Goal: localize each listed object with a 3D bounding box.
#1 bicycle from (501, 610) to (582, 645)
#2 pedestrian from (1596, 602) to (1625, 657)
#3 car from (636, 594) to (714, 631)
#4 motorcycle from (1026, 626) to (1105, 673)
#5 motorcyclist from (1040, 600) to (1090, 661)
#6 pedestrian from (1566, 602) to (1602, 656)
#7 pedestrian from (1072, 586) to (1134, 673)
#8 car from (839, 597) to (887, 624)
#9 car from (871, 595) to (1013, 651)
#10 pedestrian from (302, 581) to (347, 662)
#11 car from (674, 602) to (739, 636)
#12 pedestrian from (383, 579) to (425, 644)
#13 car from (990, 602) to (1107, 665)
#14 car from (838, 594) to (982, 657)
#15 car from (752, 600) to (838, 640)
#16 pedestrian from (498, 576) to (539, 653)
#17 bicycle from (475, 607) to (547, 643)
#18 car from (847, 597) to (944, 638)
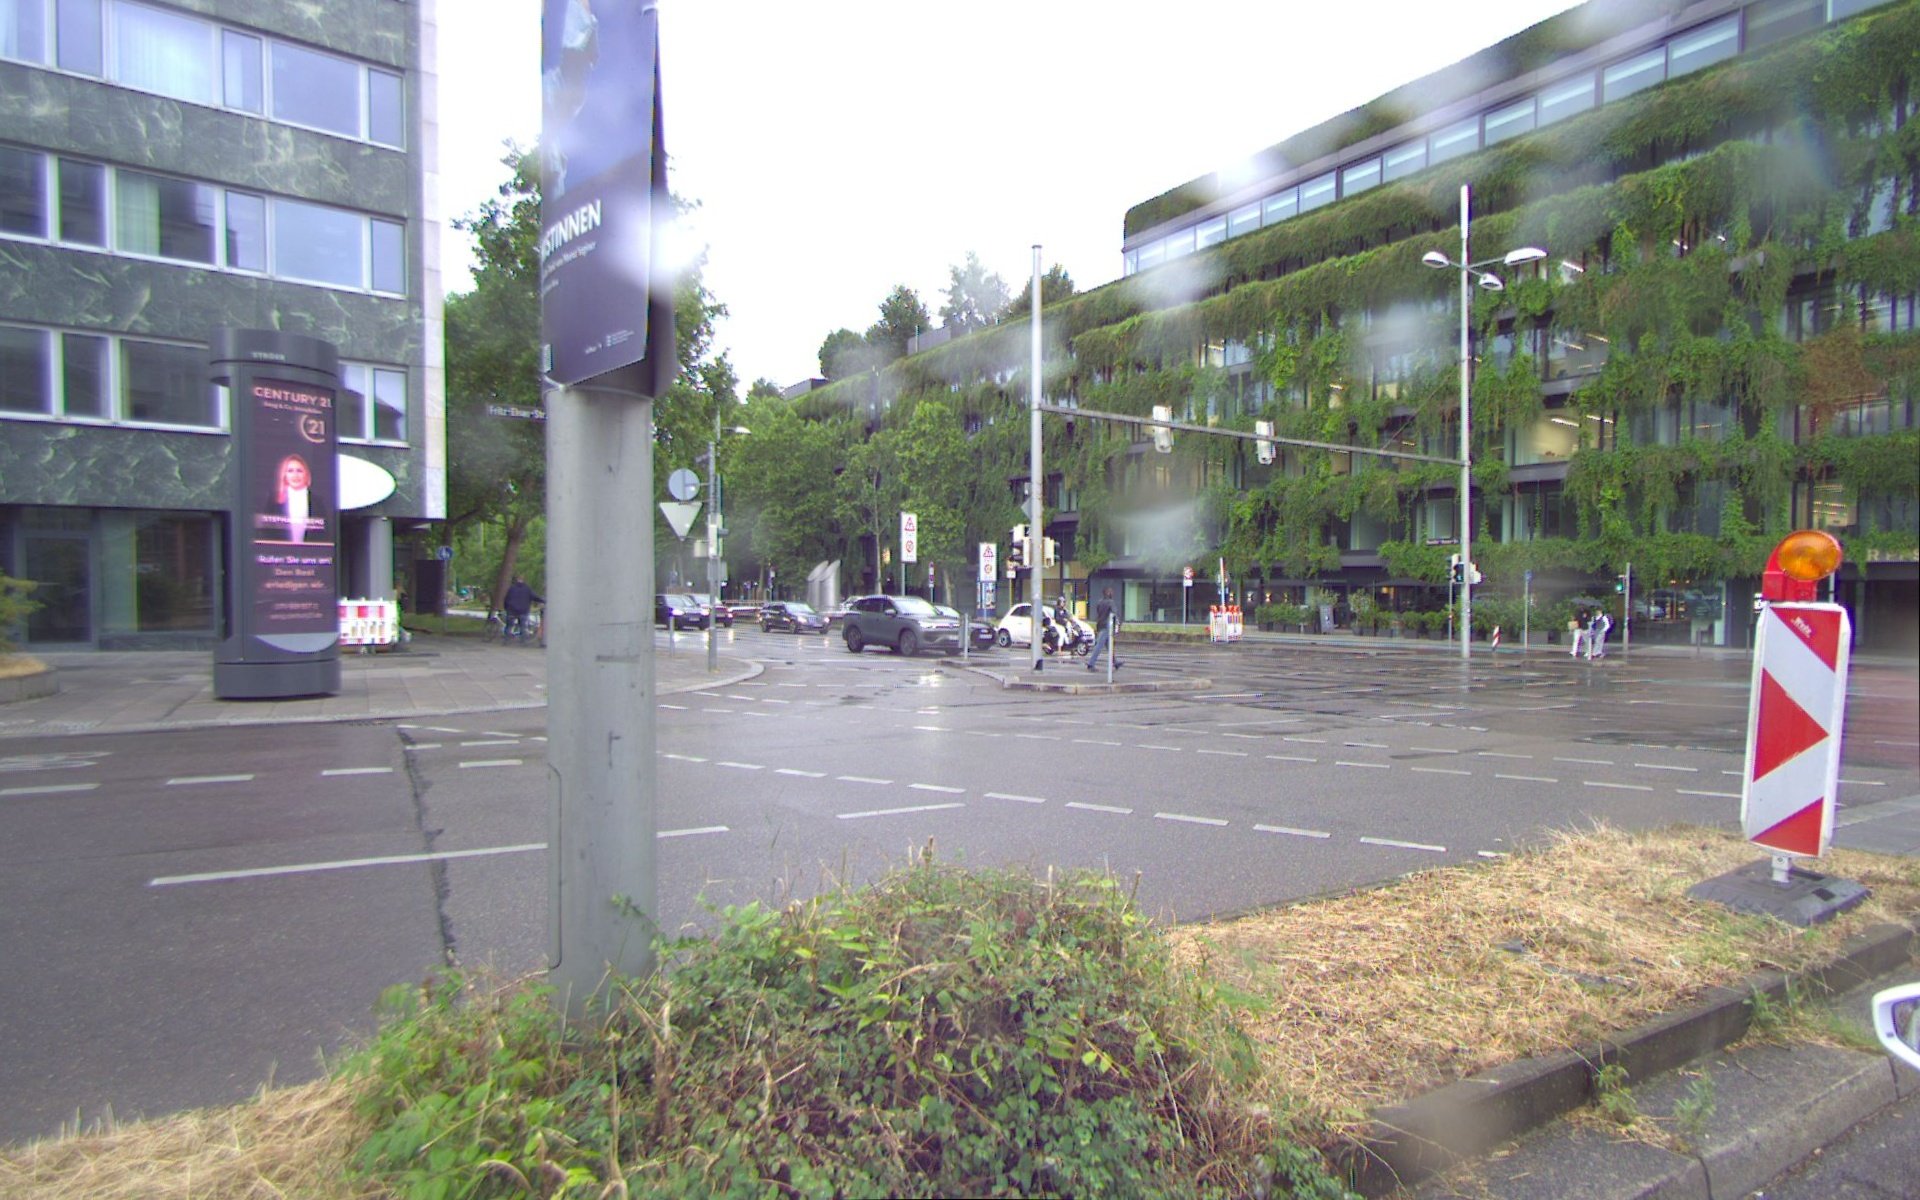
[{"bbox_3d":[-12.121,0.794,29.157,2.170,0.968,0.423,2,-1,-44],"label":"bicycle"},{"bbox_3d":[21.842,0.984,33.721,0.731,1.781,0.972,1,0,37],"label":"pedestrian"},{"bbox_3d":[-13.819,0.573,48.582,1.986,1.674,4.050,3,-1,-42],"label":"car"},{"bbox_3d":[3.033,1.405,29.046,2.204,1.227,0.843,1,0,44],"label":"motorcycle"},{"bbox_3d":[3.030,0.861,29.057,1.173,1.725,0.843,1,0,44],"label":"motorcyclist"},{"bbox_3d":[21.211,0.970,34.155,0.923,1.781,1.167,1,0,37],"label":"pedestrian"},{"bbox_3d":[3.264,0.664,22.935,1.225,1.910,0.685,1,2,-34],"label":"pedestrian"},{"bbox_3d":[-7.509,0.816,77.299,1.979,2.040,4.073,1,-1,-34],"label":"car"},{"bbox_3d":[-0.652,0.688,32.760,1.957,1.674,4.755,1,0,-43],"label":"car"},{"bbox_3d":[-15.307,0.535,24.200,0.868,1.878,1.015,1,-4,-34],"label":"pedestrian"},{"bbox_3d":[-13.740,1.008,54.285,1.805,1.674,4.053,3,-1,-40],"label":"car"},{"bbox_3d":[-14.204,0.301,25.650,0.912,1.606,0.828,1,-4,-30],"label":"pedestrian"},{"bbox_3d":[2.907,1.056,33.251,1.985,1.948,3.417,1,0,-42],"label":"car"},{"bbox_3d":[-1.513,0.680,29.058,1.985,1.674,4.186,1,0,-42],"label":"car"},{"bbox_3d":[-7.536,0.884,45.731,1.986,1.674,4.050,3,-1,-42],"label":"car"},{"bbox_3d":[-11.264,0.376,25.623,0.887,1.909,0.781,1,-4,-30],"label":"pedestrian"},{"bbox_3d":[-12.388,0.695,27.772,1.773,0.946,0.473,1,0,-21],"label":"bicycle"},{"bbox_3d":[-2.590,0.667,39.681,1.858,1.543,3.855,1,0,-42],"label":"car"}]
